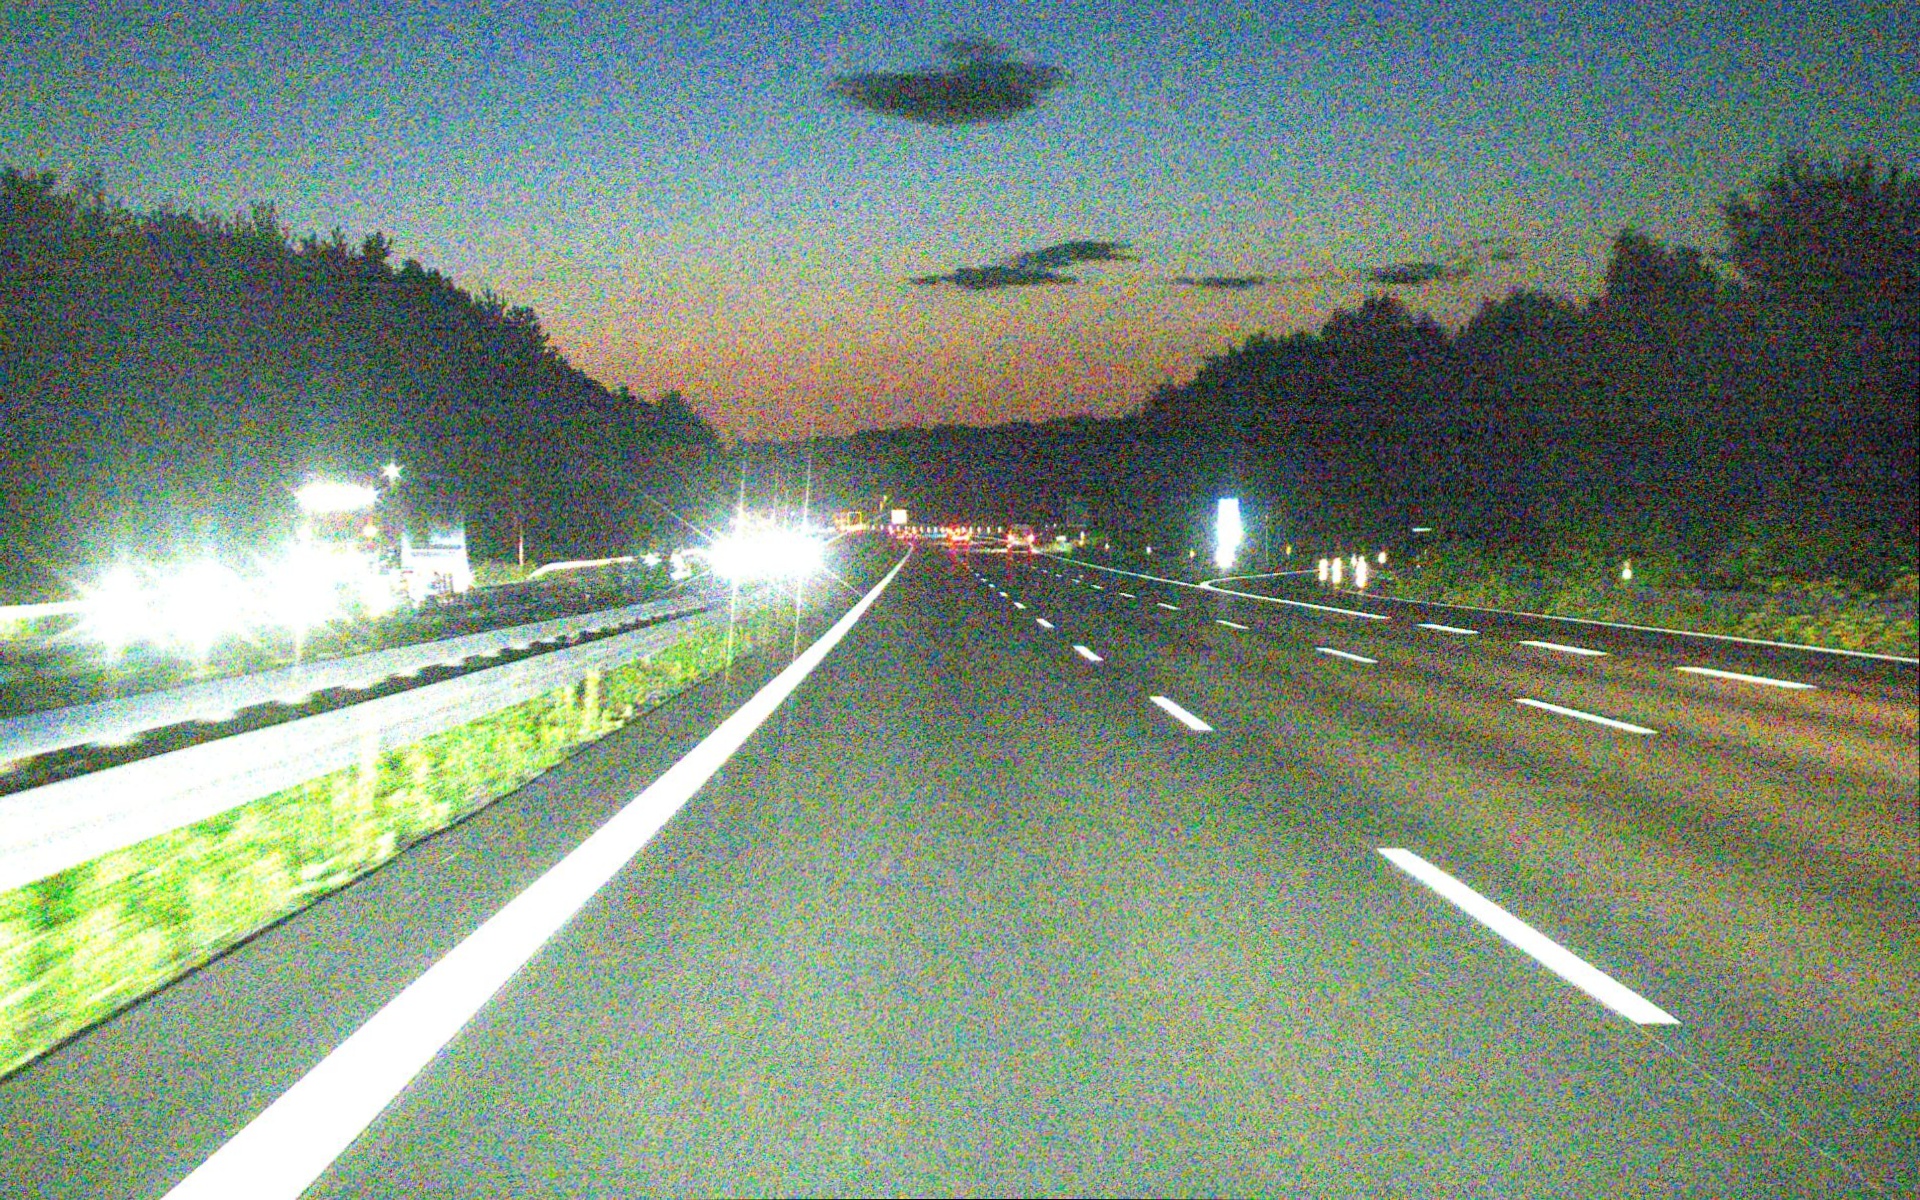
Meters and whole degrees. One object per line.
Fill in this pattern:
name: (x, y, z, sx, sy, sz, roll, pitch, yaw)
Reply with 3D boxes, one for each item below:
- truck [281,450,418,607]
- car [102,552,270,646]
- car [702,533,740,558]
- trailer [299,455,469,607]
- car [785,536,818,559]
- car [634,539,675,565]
truck: (-17.116, -1.989, 96.667, 2.753, 4.197, 5.827, -2, 1, -1)
car: (-13.169, -0.048, 58.750, 1.993, 1.456, 4.693, -2, 1, -3)
car: (-14.734, -3.369, 212.213, 1.993, 1.389, 5.706, -2, 1, -1)
trailer: (-17.216, -2.044, 103.762, 2.860, 4.161, 13.906, -2, 1, -1)
car: (-10.807, -3.589, 234.840, 1.993, 1.456, 4.900, -3, 1, 0)
car: (-18.449, -2.894, 207.820, 1.993, 1.480, 4.801, -2, 1, 0)
